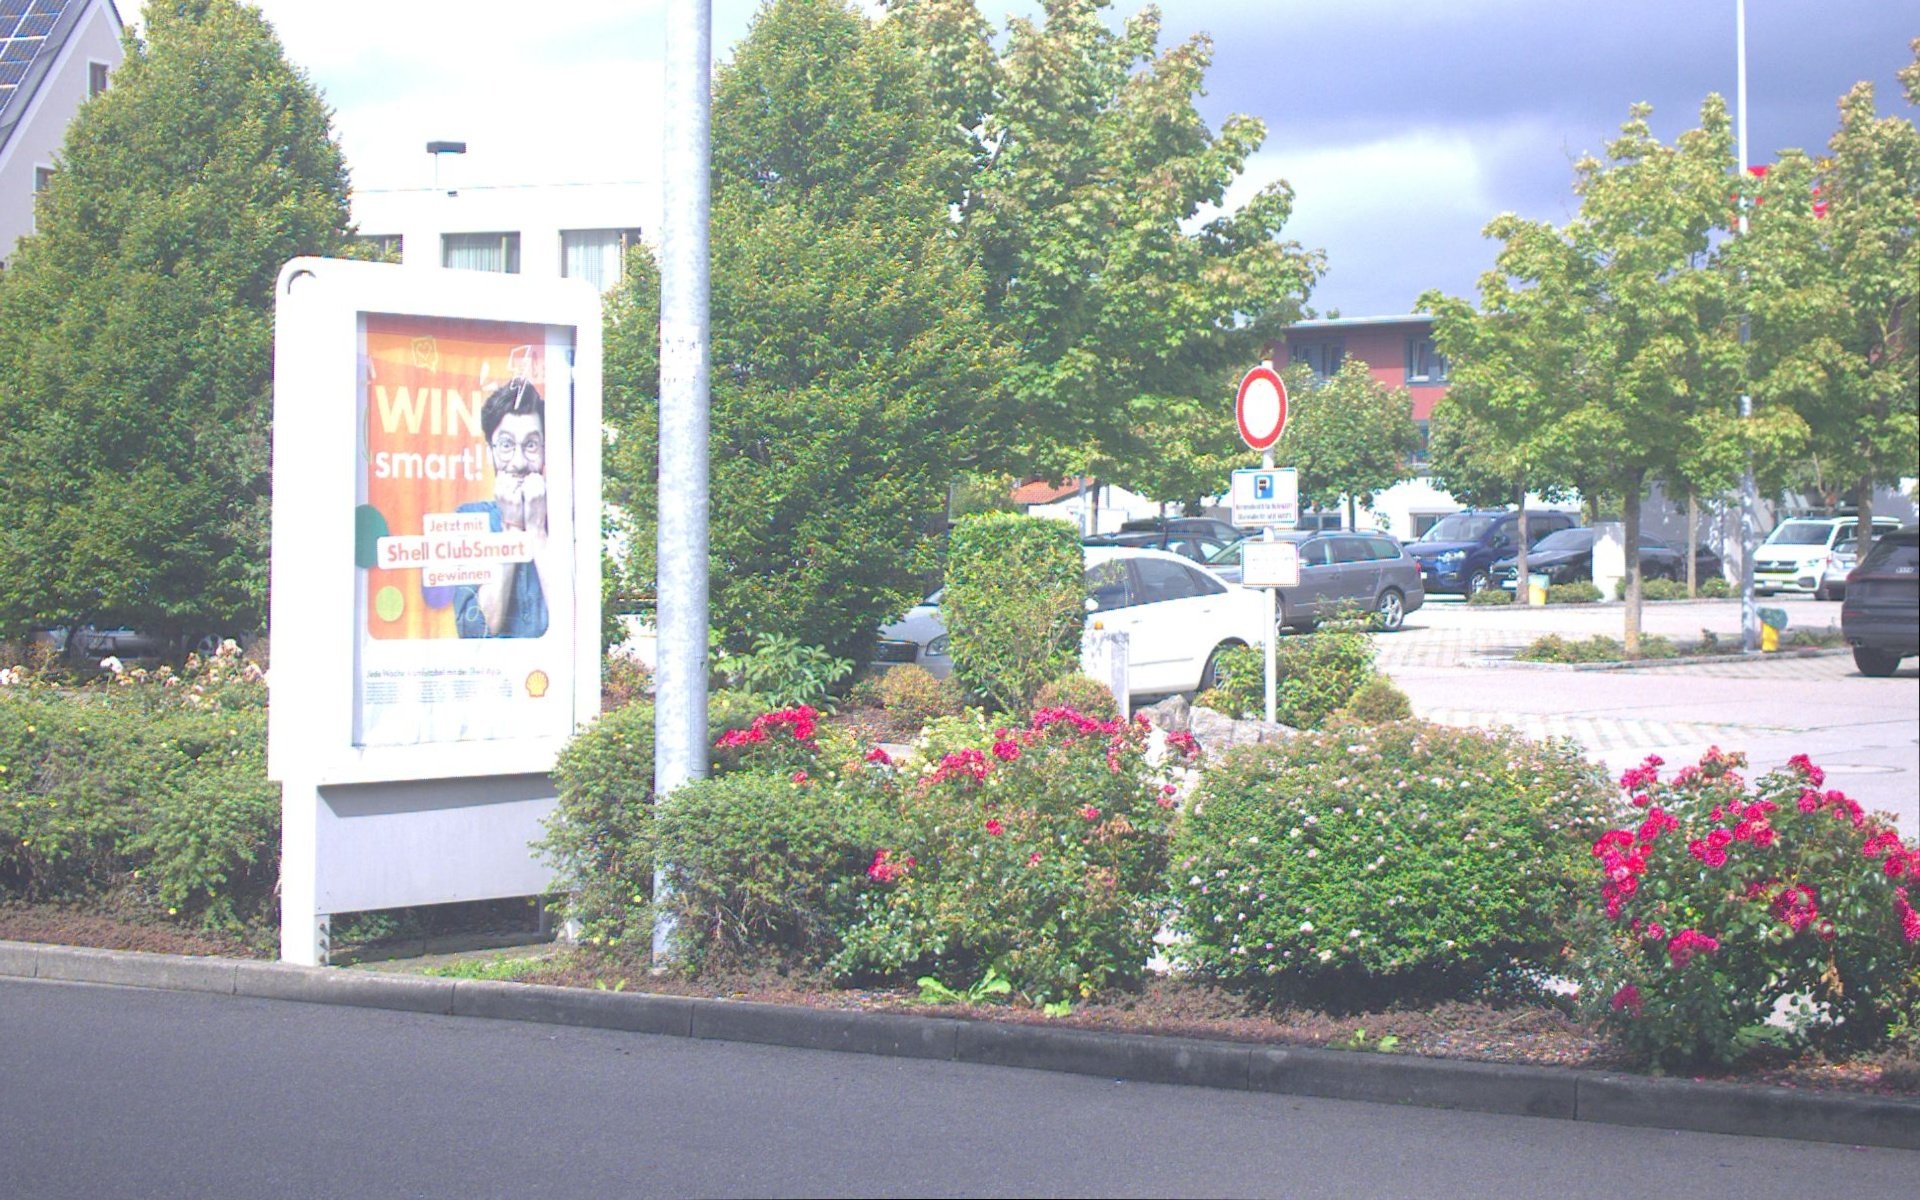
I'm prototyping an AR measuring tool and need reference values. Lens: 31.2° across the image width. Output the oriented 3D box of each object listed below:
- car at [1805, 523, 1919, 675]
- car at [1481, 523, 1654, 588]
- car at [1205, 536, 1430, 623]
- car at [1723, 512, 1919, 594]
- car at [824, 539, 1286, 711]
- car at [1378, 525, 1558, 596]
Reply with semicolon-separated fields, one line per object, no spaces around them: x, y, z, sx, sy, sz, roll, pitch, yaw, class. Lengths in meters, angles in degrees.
11.124;-0.009;36.733;4.491;1.543;1.885;0;1;-43;car
11.505;-0.842;65.039;3.409;1.174;1.485;0;1;-44;car
5.193;-0.292;49.719;3.218;1.224;1.505;0;1;-44;car
20.237;-1.088;80.645;4.864;1.827;2.184;0;1;-43;car
0.895;0.202;29.930;4.332;1.399;1.370;0;1;-44;car
9.876;-0.761;66.787;3.379;1.316;1.747;0;1;-44;car
